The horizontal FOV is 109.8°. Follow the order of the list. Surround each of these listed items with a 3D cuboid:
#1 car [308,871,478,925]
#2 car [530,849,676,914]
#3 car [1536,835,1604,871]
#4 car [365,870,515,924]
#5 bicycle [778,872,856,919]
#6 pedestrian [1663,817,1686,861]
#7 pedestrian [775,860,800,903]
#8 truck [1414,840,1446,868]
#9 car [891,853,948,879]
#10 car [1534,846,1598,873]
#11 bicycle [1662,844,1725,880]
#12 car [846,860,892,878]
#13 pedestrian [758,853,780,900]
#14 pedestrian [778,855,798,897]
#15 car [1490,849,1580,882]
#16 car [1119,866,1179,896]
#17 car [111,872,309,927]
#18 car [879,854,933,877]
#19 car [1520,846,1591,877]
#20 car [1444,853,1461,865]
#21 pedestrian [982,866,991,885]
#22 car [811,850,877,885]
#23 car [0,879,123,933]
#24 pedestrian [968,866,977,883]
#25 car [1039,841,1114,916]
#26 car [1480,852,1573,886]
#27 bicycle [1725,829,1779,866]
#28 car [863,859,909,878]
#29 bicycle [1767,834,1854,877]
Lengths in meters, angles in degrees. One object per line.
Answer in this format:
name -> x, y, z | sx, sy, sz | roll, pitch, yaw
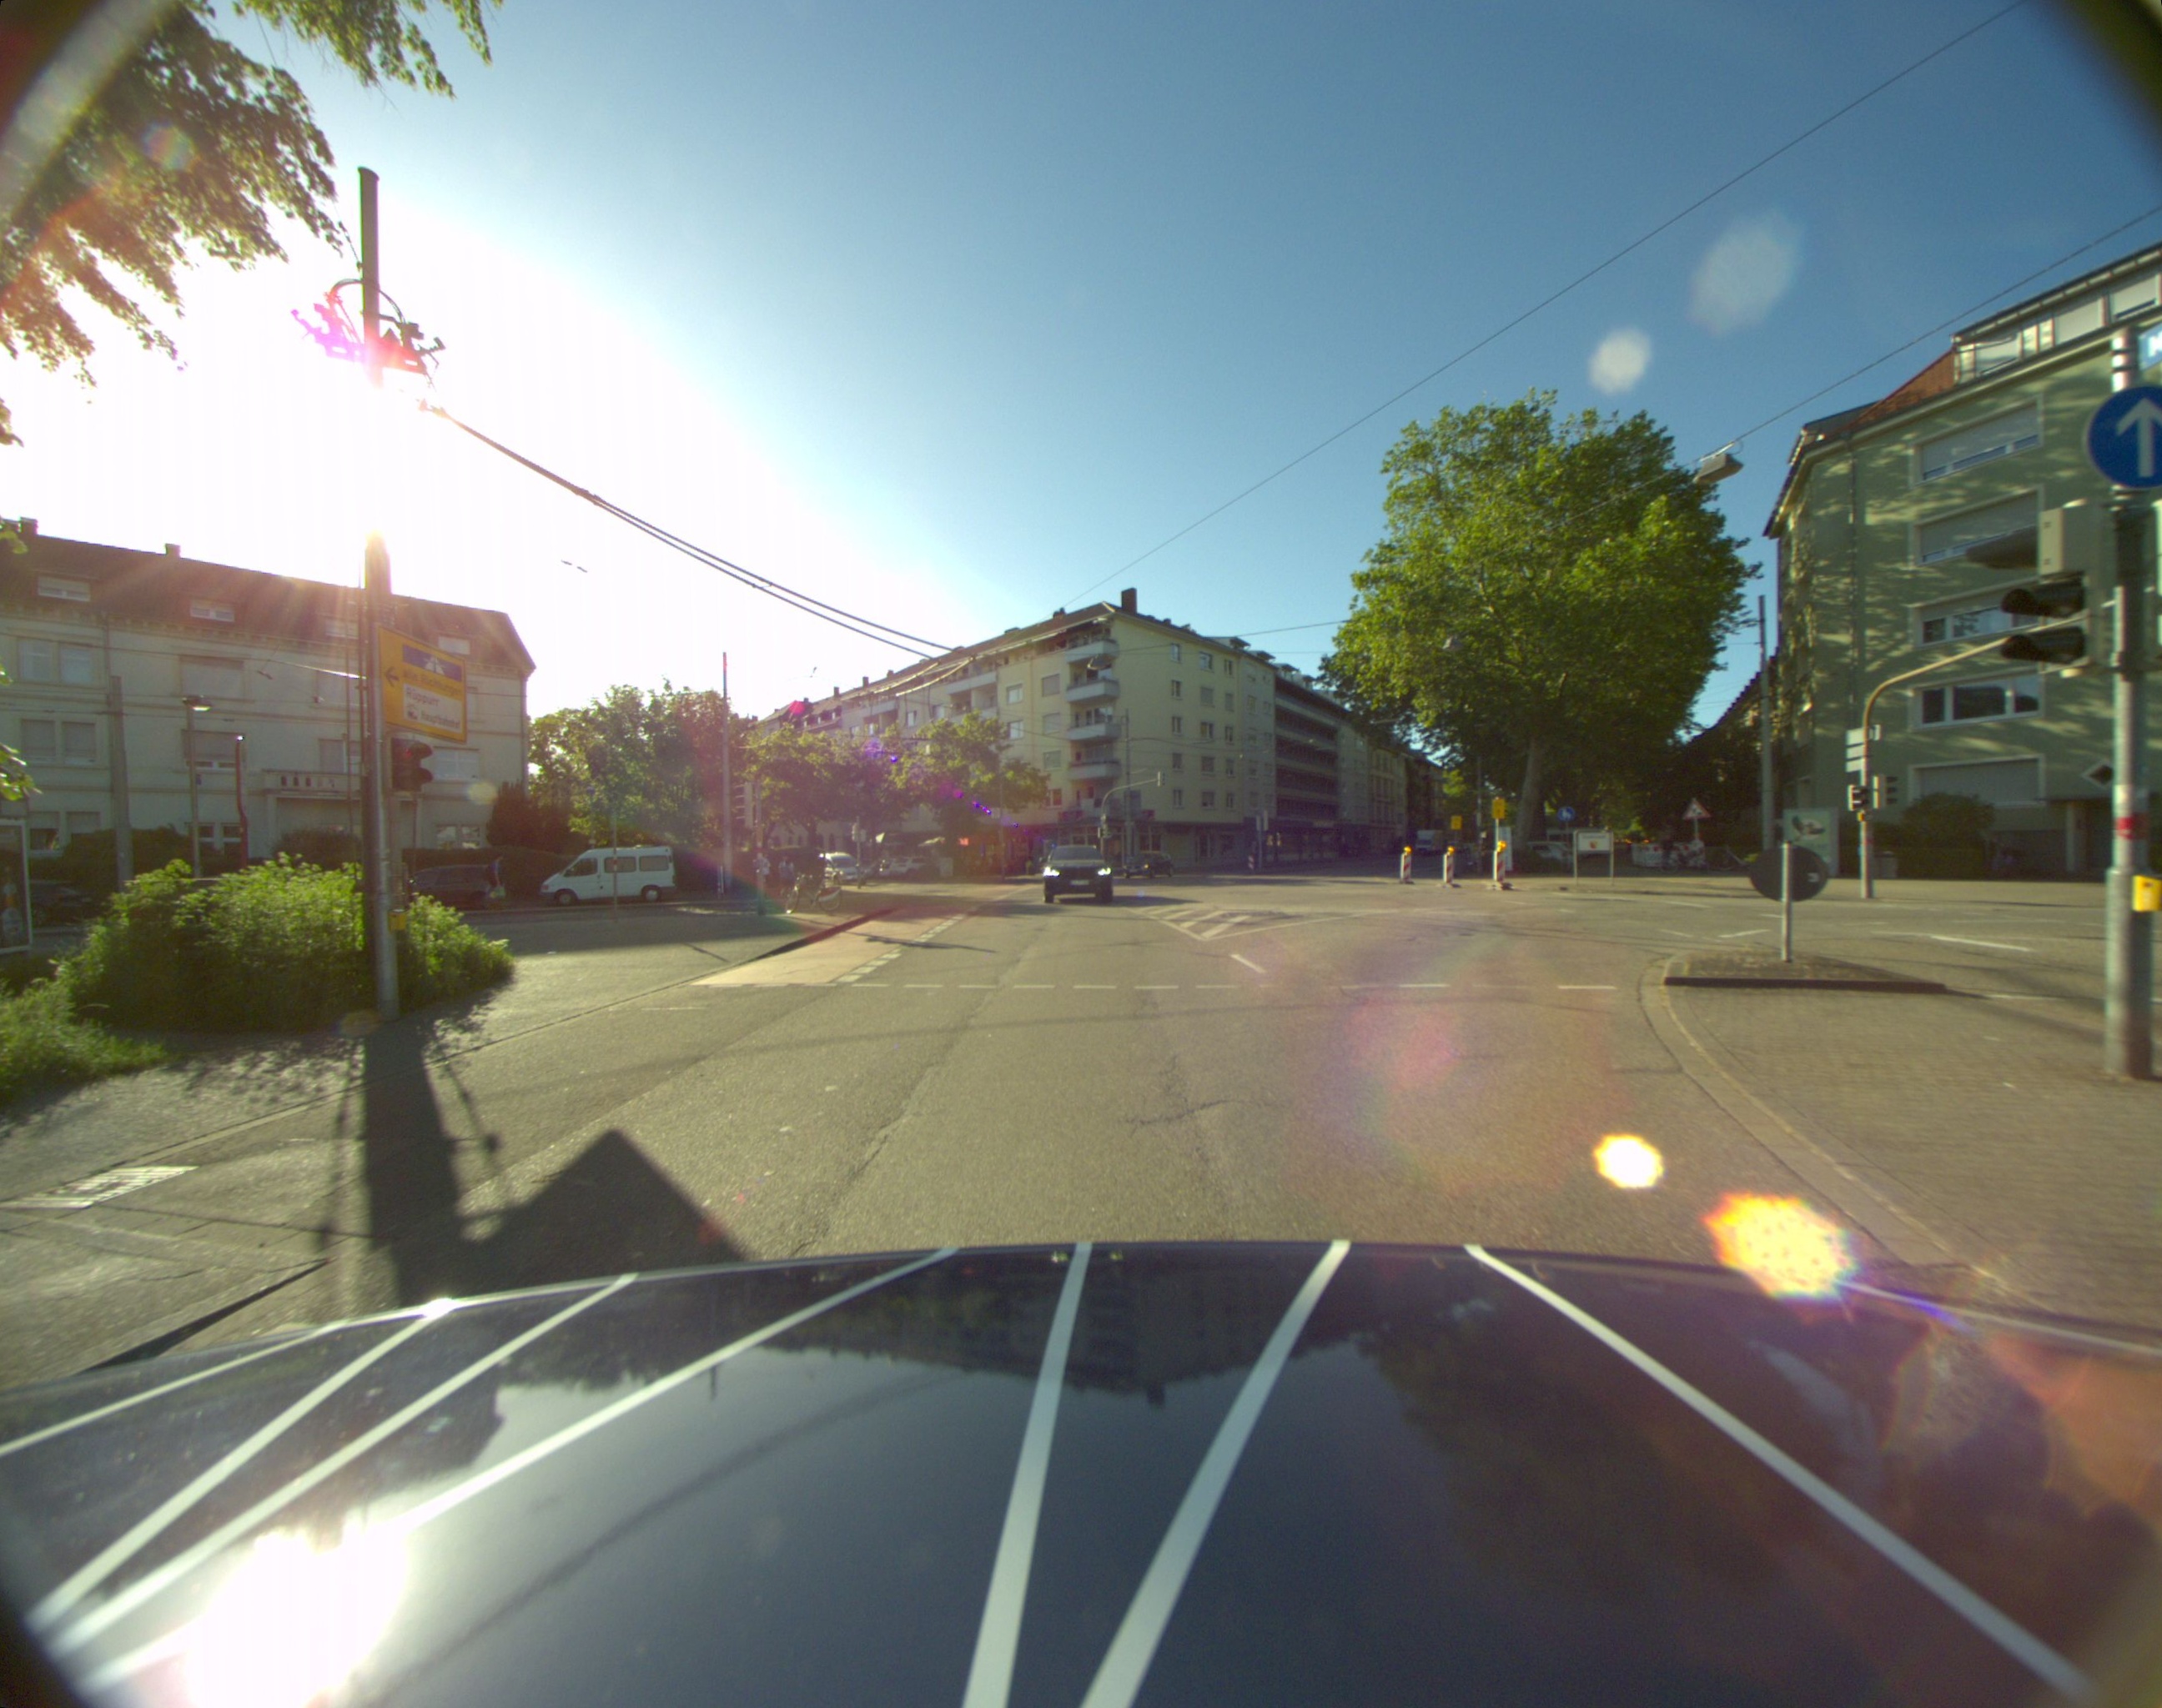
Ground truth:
car -> -22.042, 1.363, 24.572 | 3.697, 1.388, 1.894 | -3, 1, -30
car -> -18.335, 1.004, 29.408 | 4.562, 2.164, 1.947 | -3, 1, -30
car -> 39.196, -0.056, 60.974 | 4.410, 2.612, 1.972 | -3, 2, 36
car -> -22.938, 1.487, 27.390 | 3.780, 1.594, 1.967 | -3, 1, -30
bicycle -> -6.951, 1.081, 20.094 | 1.809, 1.120, 0.626 | -2, 0, -43
pedestrian -> 26.994, -0.694, 34.561 | 0.695, 1.953, 0.929 | -2, 3, 44
pedestrian -> -11.434, 1.067, 29.627 | 0.672, 1.583, 0.727 | -5, 2, -31
truck -> 43.641, -0.088, 94.838 | 2.338, 2.956, 8.044 | -2, 2, 34
car -> -10.745, 0.765, 50.634 | 3.204, 1.479, 1.575 | -5, 2, -39
car -> 37.446, 0.442, 58.697 | 3.991, 1.827, 1.818 | -3, 2, 36
bicycle -> 26.790, 0.320, 33.250 | 2.046, 1.454, 0.727 | 2, 5, 43
car -> -15.398, 1.100, 55.196 | 2.801, 1.076, 1.323 | -5, 2, -39
pedestrian -> -13.050, 0.938, 31.797 | 0.595, 1.920, 0.852 | -5, 2, -31
pedestrian -> -12.424, 0.930, 32.228 | 0.555, 1.727, 0.627 | -5, 2, -31
car -> 25.628, 0.674, 42.920 | 4.138, 1.631, 1.777 | -3, 2, 36
car -> 3.840, 1.493, 42.431 | 1.698, 1.432, 3.653 | -3, 0, 36
car -> -28.346, 1.442, 24.940 | 3.780, 1.458, 1.967 | -3, 1, -30
car -> -12.188, 0.797, 52.968 | 3.204, 1.394, 1.575 | -5, 2, -39
car -> 32.648, 0.528, 52.307 | 3.991, 1.827, 1.818 | -3, 2, 36
car -> 53.211, 0.661, 108.800 | 1.698, 1.432, 3.652 | -3, 1, 33
pedestrian -> -6.644, 1.499, 53.420 | 0.384, 1.269, 0.494 | -3, -1, 18
car -> -13.739, 0.801, 43.870 | 1.860, 1.796, 4.208 | -6, 2, -43
car -> -32.399, 1.644, 22.818 | 3.987, 1.423, 1.967 | -5, 2, -30
pedestrian -> -8.012, 1.516, 56.004 | 0.384, 1.269, 0.494 | -3, -1, 18
car -> -0.104, 0.636, 23.080 | 1.941, 1.923, 4.522 | -3, 2, 1
car -> 24.119, 0.815, 41.162 | 4.138, 1.631, 1.777 | -3, 2, 36
bicycle -> 26.966, -0.276, 30.577 | 0.773, 1.373, 2.054 | -1, 4, 15
car -> -13.899, 1.029, 54.144 | 2.801, 1.076, 1.323 | -5, 2, -39
bicycle -> 25.508, 0.029, 26.615 | 0.775, 1.373, 2.048 | -4, 4, -22
